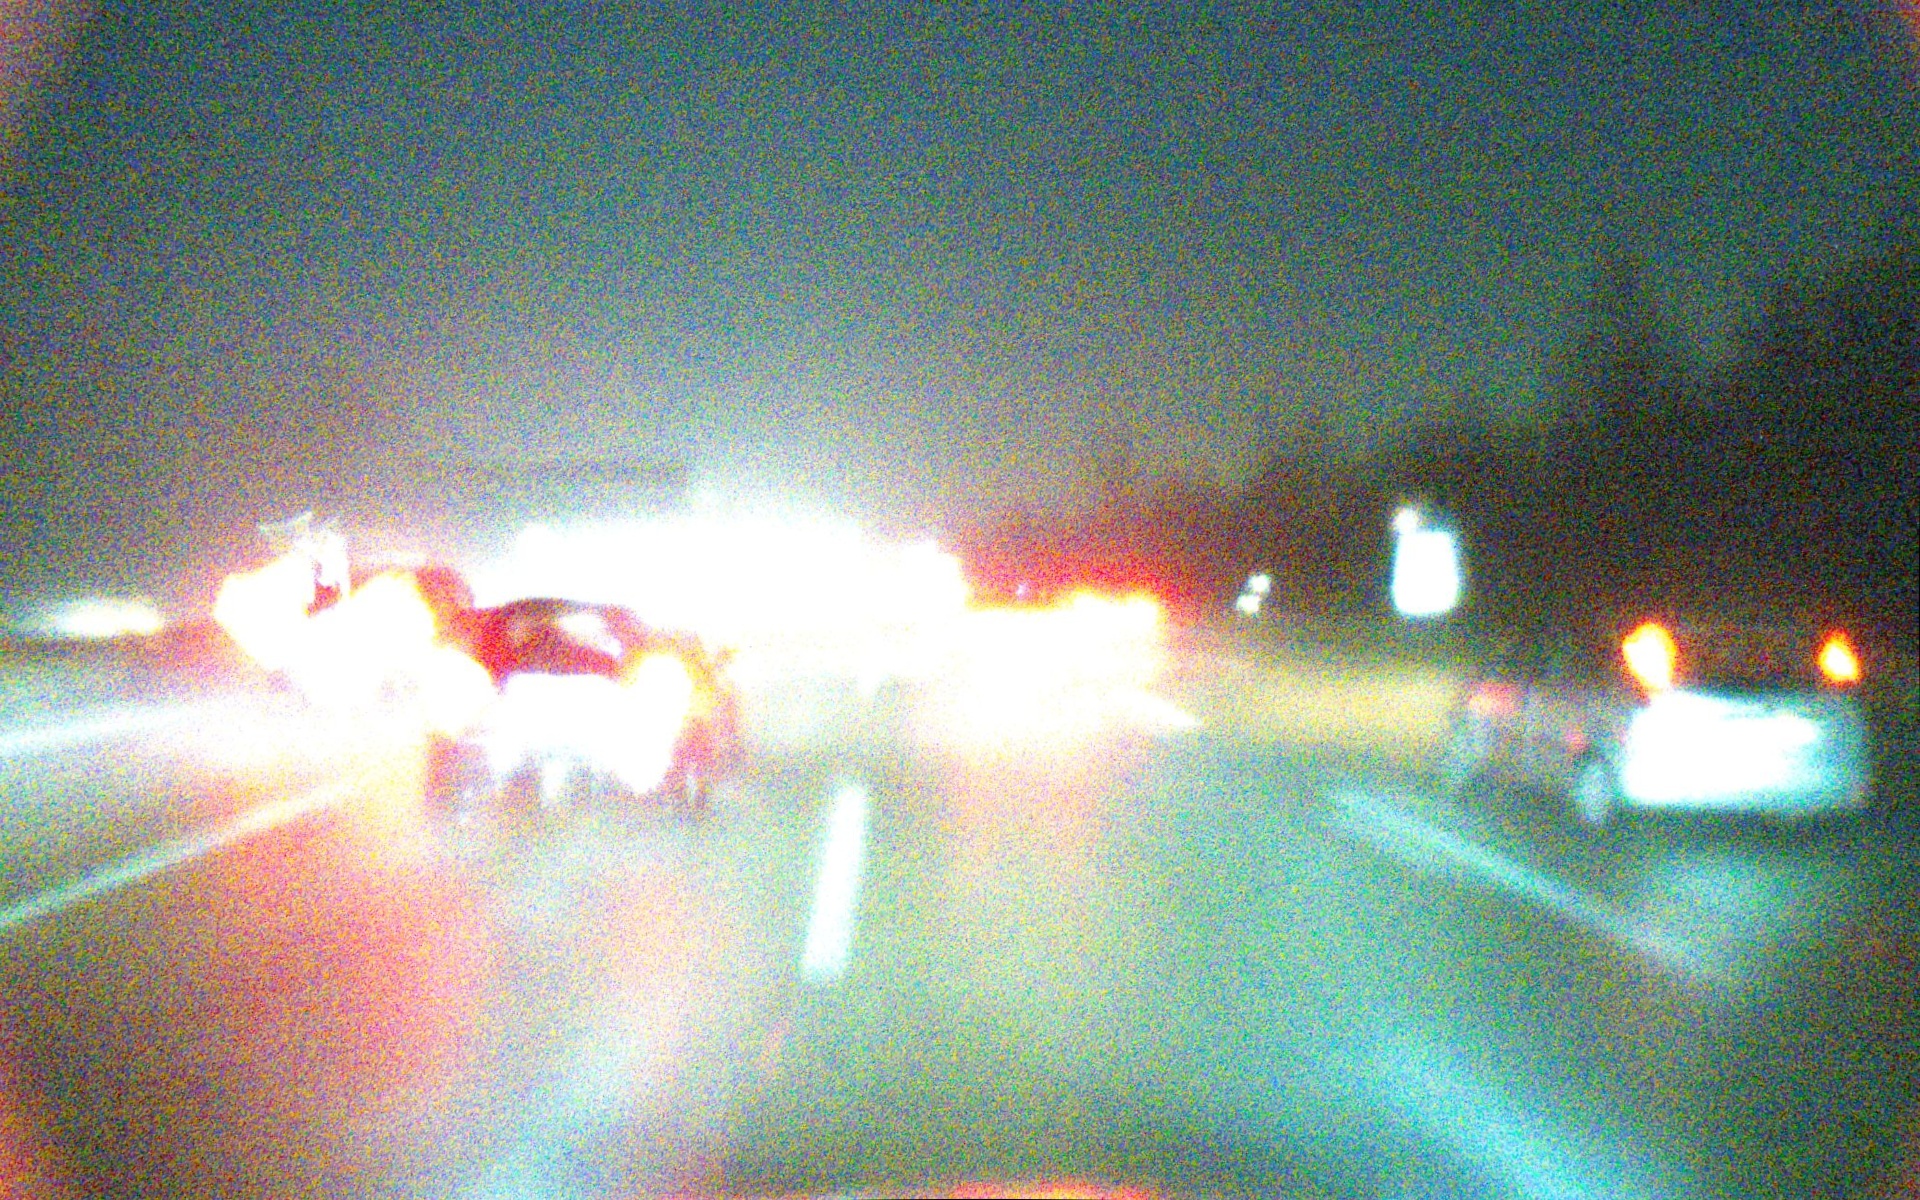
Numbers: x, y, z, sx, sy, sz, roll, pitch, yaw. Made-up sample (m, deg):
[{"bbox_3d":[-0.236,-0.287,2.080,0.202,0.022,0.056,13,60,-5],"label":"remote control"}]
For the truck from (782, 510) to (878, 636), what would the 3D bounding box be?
[{"bbox_3d":[-5.540,-1.030,68.849,3.586,4.820,9.838,1,0,-7],"label":"truck"}]

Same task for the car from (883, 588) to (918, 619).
[{"bbox_3d":[-3.466,0.198,95.974,1.953,1.733,4.456,1,0,-2],"label":"car"}]

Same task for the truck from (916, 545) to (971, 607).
[{"bbox_3d":[-1.521,-2.074,147.692,4.080,5.306,9.943,1,0,-5],"label":"truck"}]

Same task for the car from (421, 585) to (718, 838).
[{"bbox_3d":[-2.589,0.633,11.809,1.625,1.456,4.239,1,1,-7],"label":"car"}]

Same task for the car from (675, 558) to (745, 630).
[{"bbox_3d":[-8.546,-0.195,56.540,2.222,2.313,5.374,1,0,-9],"label":"car"}]

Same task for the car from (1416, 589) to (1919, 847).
[{"bbox_3d":[4.751,0.675,11.663,1.734,1.483,4.193,1,0,-3],"label":"car"}]

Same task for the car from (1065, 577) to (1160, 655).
[{"bbox_3d":[3.700,0.391,40.693,1.840,1.793,3.998,1,0,-2],"label":"car"}]

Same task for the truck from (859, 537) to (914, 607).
[{"bbox_3d":[-5.995,-2.232,137.298,4.167,5.539,10.882,1,0,-1],"label":"truck"}]

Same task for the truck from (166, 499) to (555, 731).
[{"bbox_3d":[-6.615,0.165,19.251,2.801,2.239,5.852,1,0,-5],"label":"truck"}]

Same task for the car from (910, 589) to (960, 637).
[{"bbox_3d":[-1.020,0.500,64.995,1.731,1.793,3.997,1,0,-4],"label":"car"}]

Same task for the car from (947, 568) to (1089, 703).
[{"bbox_3d":[0.740,0.435,23.336,1.730,1.718,3.999,1,1,-2],"label":"car"}]
